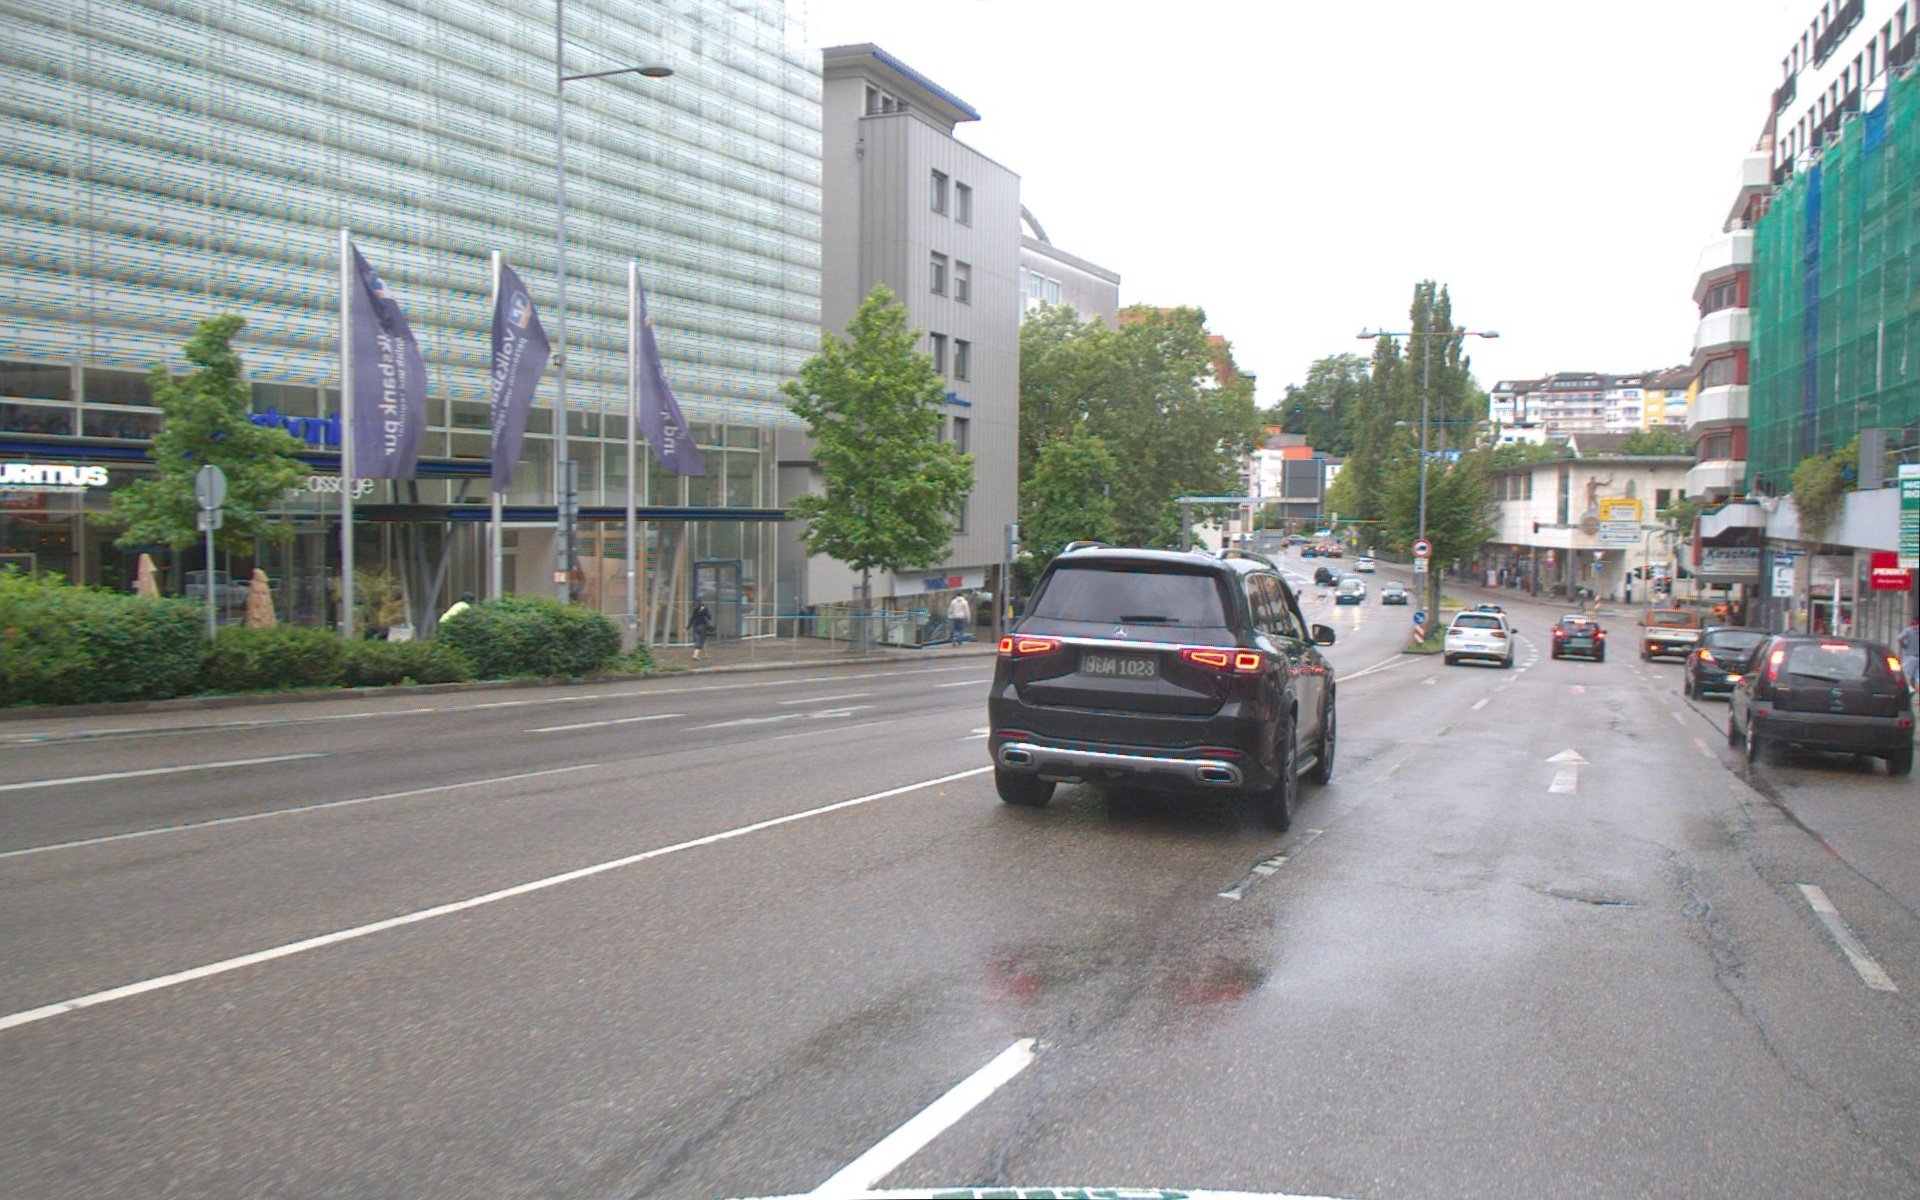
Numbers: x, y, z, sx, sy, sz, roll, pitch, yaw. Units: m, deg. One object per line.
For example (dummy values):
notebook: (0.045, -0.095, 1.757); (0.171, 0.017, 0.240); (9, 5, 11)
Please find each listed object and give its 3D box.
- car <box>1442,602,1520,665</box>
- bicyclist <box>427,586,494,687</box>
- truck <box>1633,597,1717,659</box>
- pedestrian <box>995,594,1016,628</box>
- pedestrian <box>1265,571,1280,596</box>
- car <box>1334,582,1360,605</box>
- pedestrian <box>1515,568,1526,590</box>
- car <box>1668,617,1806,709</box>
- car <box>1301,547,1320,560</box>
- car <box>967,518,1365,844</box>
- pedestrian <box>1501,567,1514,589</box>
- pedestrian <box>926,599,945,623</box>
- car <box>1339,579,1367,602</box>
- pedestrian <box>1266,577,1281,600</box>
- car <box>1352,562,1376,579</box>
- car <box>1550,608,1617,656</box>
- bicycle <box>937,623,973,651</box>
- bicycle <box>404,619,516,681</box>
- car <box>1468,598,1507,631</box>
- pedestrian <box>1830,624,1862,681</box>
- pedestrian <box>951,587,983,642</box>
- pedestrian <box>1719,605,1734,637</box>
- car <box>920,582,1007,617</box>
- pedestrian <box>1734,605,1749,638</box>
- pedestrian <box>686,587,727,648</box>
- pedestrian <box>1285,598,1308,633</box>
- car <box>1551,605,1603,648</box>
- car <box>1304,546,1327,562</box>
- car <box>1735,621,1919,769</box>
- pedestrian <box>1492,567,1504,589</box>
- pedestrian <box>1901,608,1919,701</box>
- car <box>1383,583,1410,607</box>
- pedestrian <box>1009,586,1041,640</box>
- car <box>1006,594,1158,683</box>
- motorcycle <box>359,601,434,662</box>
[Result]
car: (14.625, 0.895, 46.332); (1.909, 1.601, 4.001); (3, 1, 19)
bicyclist: (-9.387, 0.684, 31.105); (0.656, 1.862, 0.988); (0, -1, 33)
truck: (26.736, 0.999, 62.039); (2.138, 2.118, 5.607); (2, 1, 16)
pedestrian: (2.414, 0.578, 87.592); (0.744, 1.752, 0.949); (1, 0, 32)
pedestrian: (23.061, -1.187, 122.215); (0.890, 1.834, 0.624); (1, 0, -21)
car: (27.075, -0.464, 115.785); (1.670, 1.476, 3.865); (2, 1, 12)
pedestrian: (47.814, -1.784, 141.133); (0.687, 1.834, 0.939); (1, 0, 5)
car: (15.583, 1.213, 33.355); (1.909, 1.601, 4.002); (3, 1, 17)
car: (45.243, -6.026, 213.671); (1.712, 1.581, 3.570); (2, 1, 2)
car: (1.781, 0.462, 12.379); (2.044, 1.848, 4.795); (3, 1, 17)
pedestrian: (46.830, -1.862, 141.451); (0.828, 1.834, 1.057); (1, 0, 5)
pedestrian: (-1.355, 0.595, 90.231); (0.930, 1.294, 0.759); (1, 0, -7)
car: (29.249, -0.721, 123.135); (1.740, 1.576, 4.004); (2, 1, 11)
pedestrian: (22.872, -0.852, 120.586); (0.910, 1.636, 0.560); (1, 0, -21)
car: (42.402, -3.091, 173.680); (1.951, 1.623, 4.003); (2, 1, 7)
car: (22.183, 1.114, 58.940); (1.774, 1.465, 4.003); (4, 2, 15)
bicycle: (-0.208, 1.520, 68.369); (0.599, 1.105, 2.671); (2, 0, 19)
bicycle: (-9.386, 0.926, 31.113); (0.666, 1.118, 2.065); (1, -1, 33)
car: (26.933, 0.722, 84.531); (1.756, 1.493, 4.003); (3, 1, 16)
pedestrian: (26.515, 1.577, 49.512); (0.554, 1.678, 0.637); (1, -1, -28)
pedestrian: (0.237, 0.458, 54.016); (0.972, 1.752, 1.039); (1, 0, 2)
pedestrian: (41.271, 1.113, 89.111); (0.563, 1.729, 0.651); (1, 0, 10)
car: (0.240, -0.020, 100.341); (4.964, 1.789, 2.002); (4, 1, 7)
pedestrian: (41.966, 1.161, 88.813); (0.563, 1.729, 0.651); (1, 0, 5)
pedestrian: (-6.287, 0.428, 41.055); (0.639, 1.482, 0.844); (1, 0, 26)
pedestrian: (18.542, 0.860, 91.198); (1.042, 1.915, 0.837); (1, 0, 26)
car: (25.851, 1.076, 69.415); (1.724, 1.569, 4.003); (3, 2, 16)
car: (47.775, -6.186, 222.108); (1.954, 2.048, 3.998); (2, 1, -3)
car: (9.975, 1.007, 19.037); (1.682, 1.445, 3.769); (2, 0, 22)
pedestrian: (46.556, -1.890, 143.012); (0.781, 1.834, 0.918); (1, 0, 5)
pedestrian: (18.570, 1.044, 31.772); (0.819, 1.752, 0.828); (1, 0, 28)
car: (30.507, -0.373, 115.583); (1.781, 1.576, 4.003); (2, 1, 15)
pedestrian: (2.161, 0.434, 54.537); (0.798, 1.743, 1.314); (1, 0, 13)
car: (2.394, 0.689, 31.547); (1.803, 1.579, 4.094); (0, 0, 21)
motorcycle: (-12.913, 0.716, 37.923); (1.517, 1.318, 0.768); (2, 0, 27)
